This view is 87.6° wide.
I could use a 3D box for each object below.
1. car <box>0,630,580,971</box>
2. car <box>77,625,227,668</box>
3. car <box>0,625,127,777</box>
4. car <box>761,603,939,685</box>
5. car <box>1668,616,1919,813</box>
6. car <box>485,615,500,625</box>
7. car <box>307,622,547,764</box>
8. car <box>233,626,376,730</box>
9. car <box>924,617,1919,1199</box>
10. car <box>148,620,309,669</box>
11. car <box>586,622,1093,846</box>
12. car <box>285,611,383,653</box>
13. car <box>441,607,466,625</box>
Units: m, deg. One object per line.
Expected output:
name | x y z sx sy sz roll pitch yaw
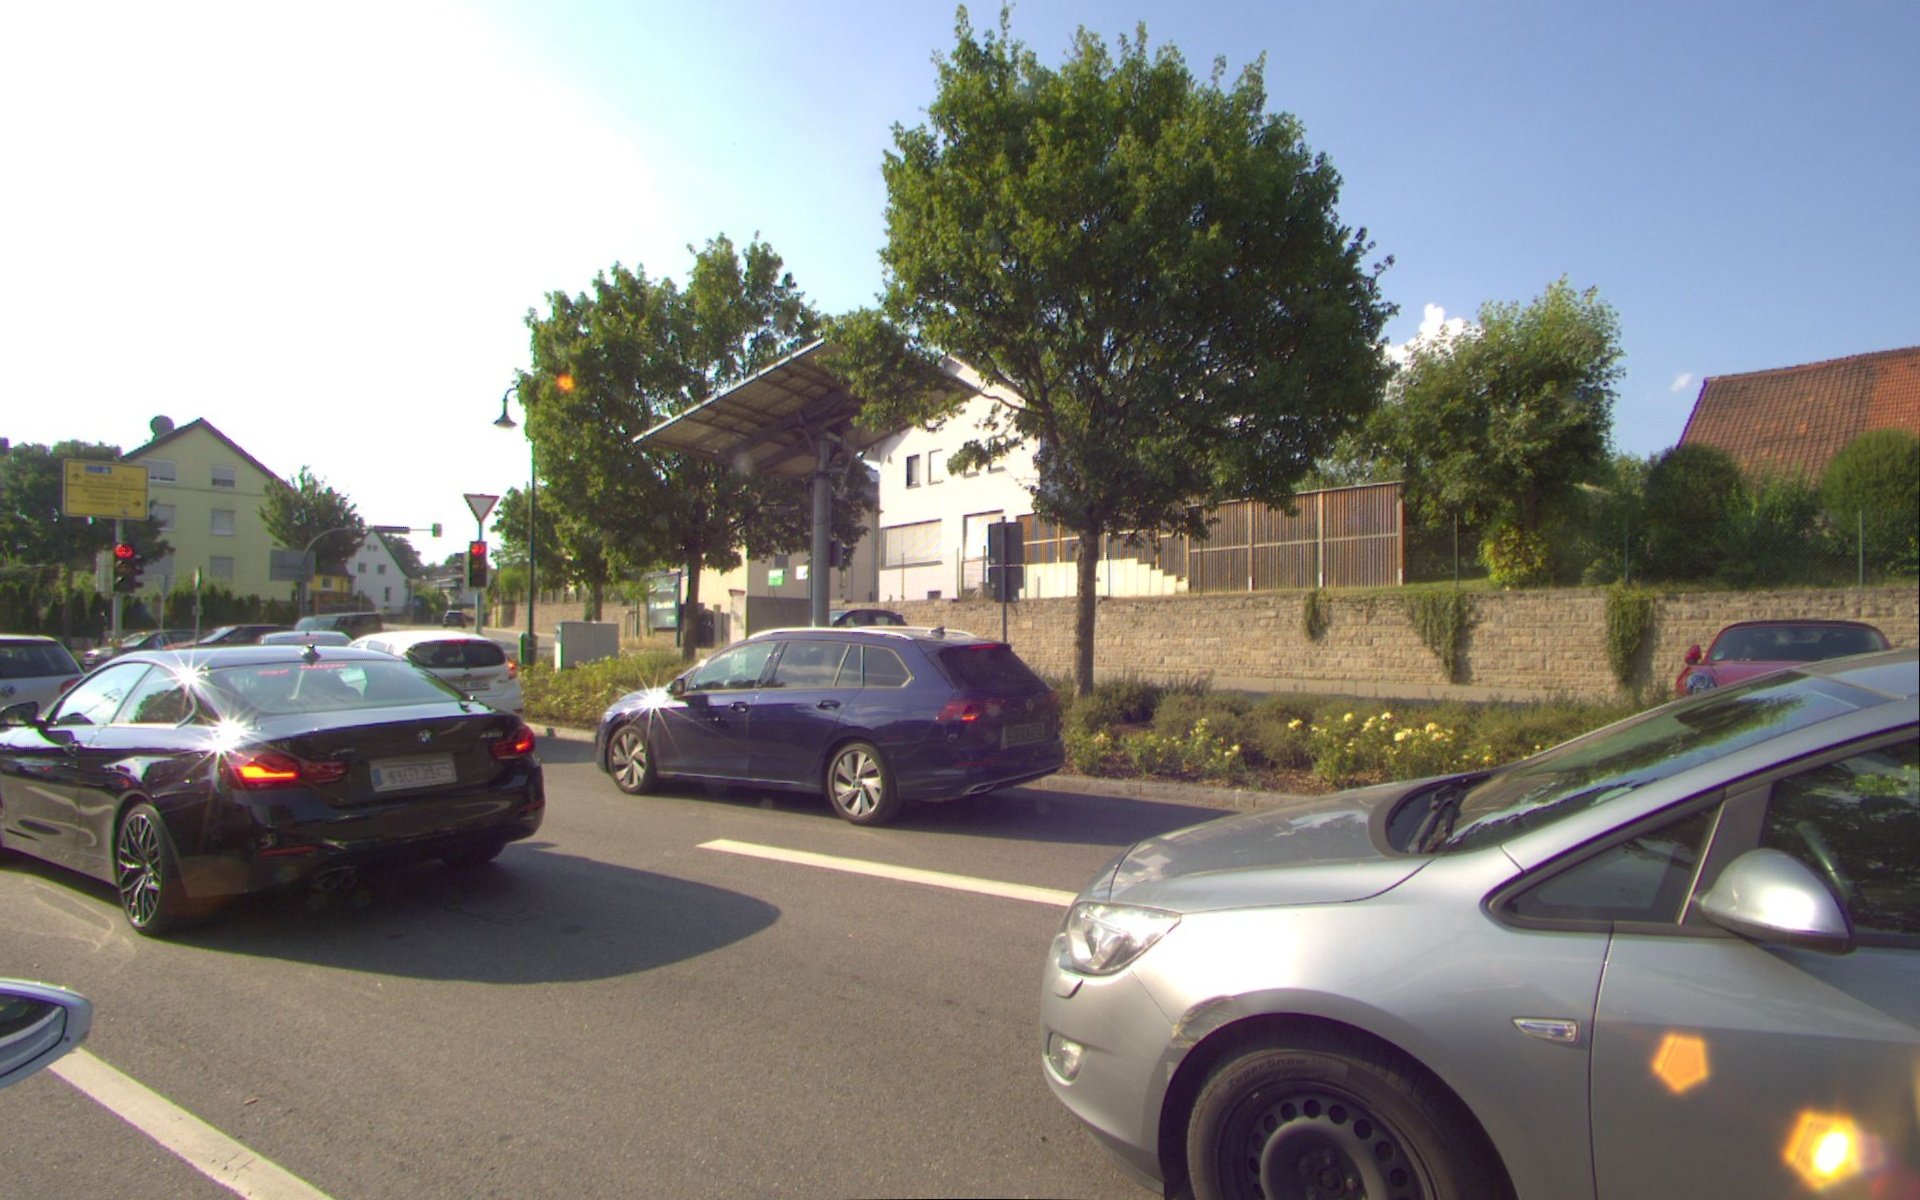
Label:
car | -4.431 0.914 6.188 4.220 1.416 1.758 -1 0 33
car | -30.066 1.714 37.368 1.821 1.508 3.983 -1 -2 30
car | -10.802 1.012 10.782 3.848 1.444 1.758 -1 0 33
car | -2.372 0.958 22.300 1.758 1.653 3.800 -1 -2 40
car | 8.229 0.951 9.746 1.758 1.510 4.120 -1 -2 41
car | -76.083 3.279 162.964 1.941 1.701 4.196 0 -1 -28
car | -6.913 1.080 12.890 3.278 1.562 1.611 -1 0 40
car | -11.748 1.270 17.817 1.643 1.562 4.362 -1 0 -40
car | 2.177 0.783 2.163 4.256 1.472 1.758 -1 0 31
car | -26.481 1.594 36.414 1.818 1.662 4.418 0 -2 25
car | -1.160 0.948 8.645 4.259 1.472 1.757 -1 0 34
car | -28.053 1.447 45.060 1.813 1.761 4.785 0 -2 -6
car | -48.624 1.555 96.121 1.940 1.701 4.200 0 -1 -25
